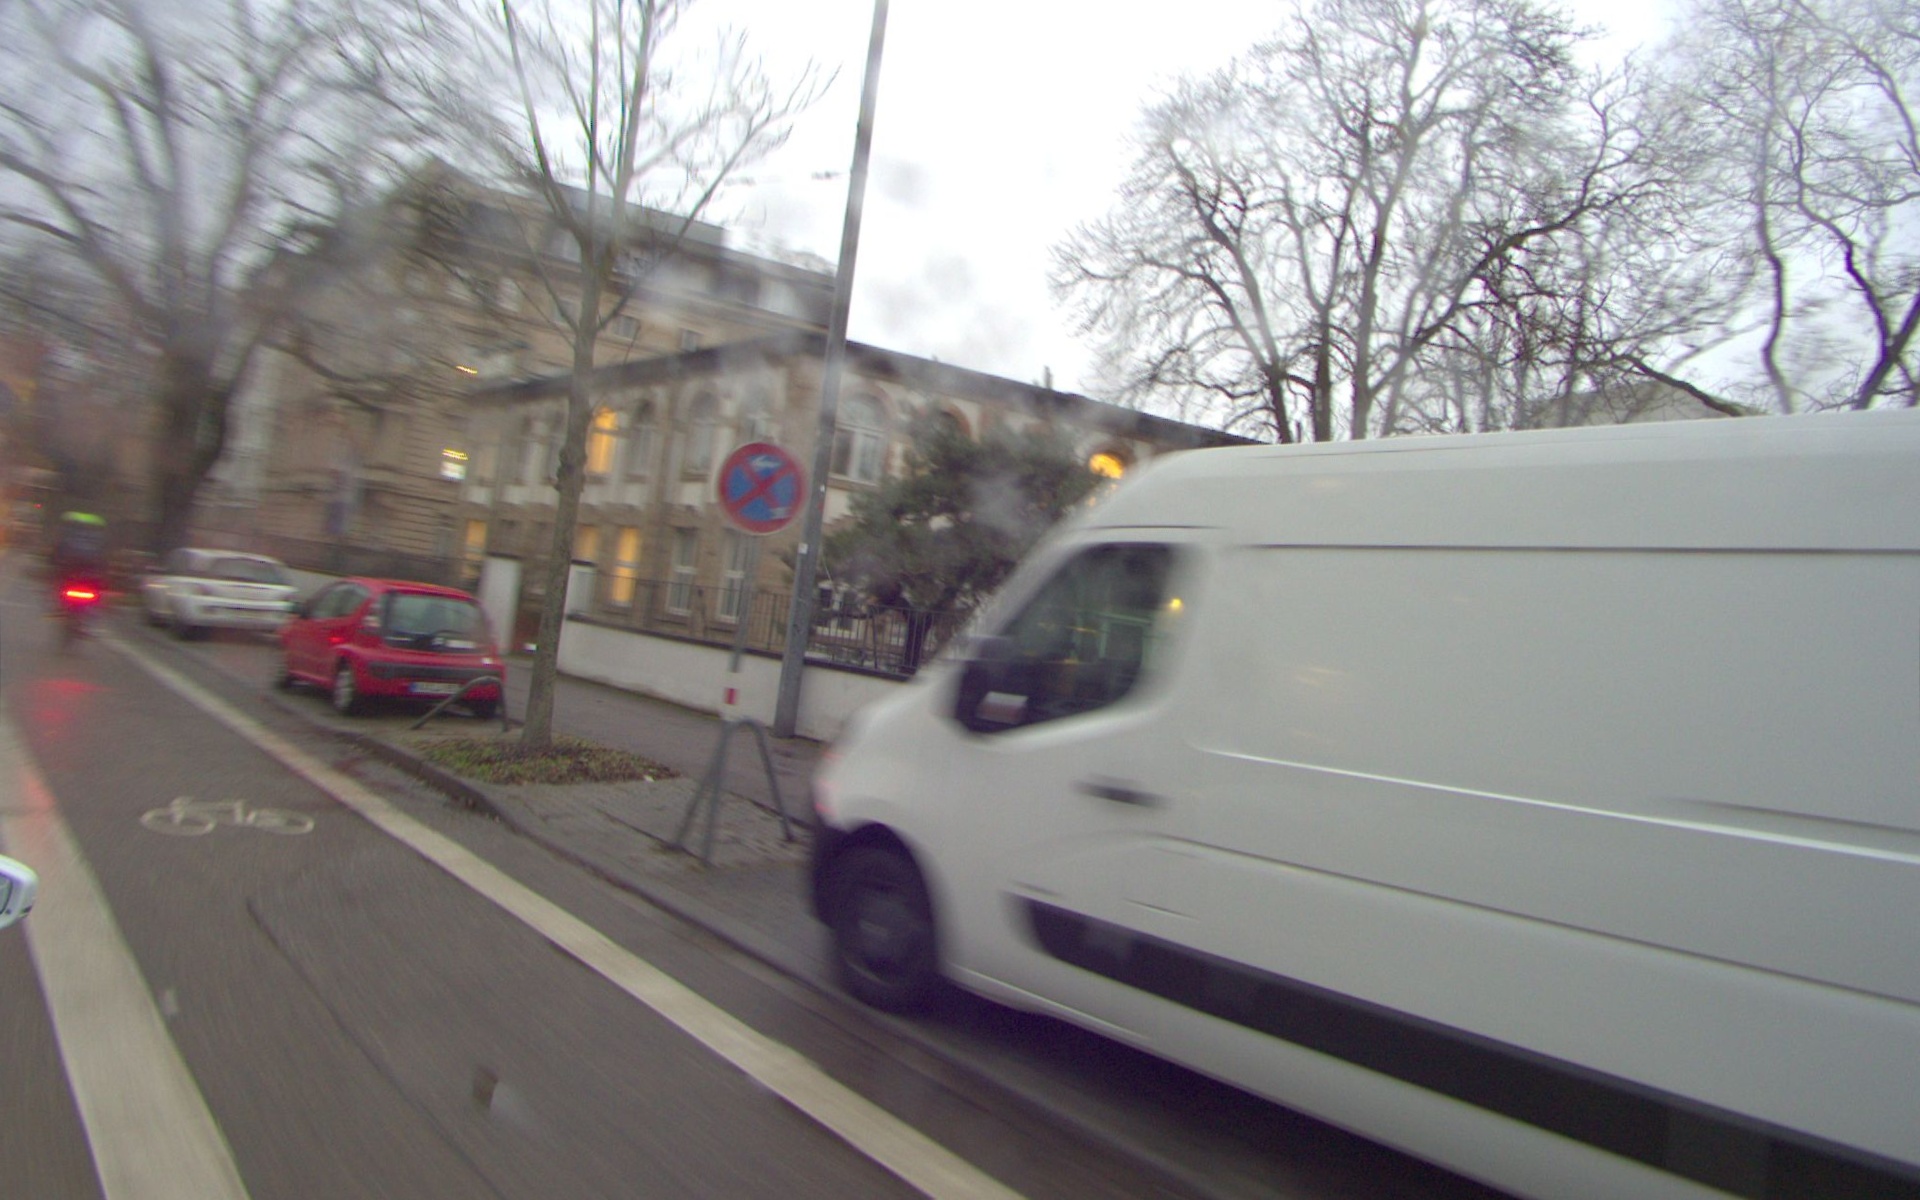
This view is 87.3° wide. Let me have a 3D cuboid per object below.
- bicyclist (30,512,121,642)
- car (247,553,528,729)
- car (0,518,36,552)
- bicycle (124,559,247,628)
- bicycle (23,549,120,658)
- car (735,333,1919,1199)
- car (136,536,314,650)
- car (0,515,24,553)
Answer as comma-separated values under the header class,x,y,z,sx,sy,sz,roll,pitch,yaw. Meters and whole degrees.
class,x,y,z,sx,sy,sz,roll,pitch,yaw
bicyclist,-10.810,-0.285,12.295,0.654,1.463,0.839,8,-1,-44
car,-6.858,0.436,11.923,3.522,1.540,1.643,7,-3,41
car,-47.893,-3.333,50.535,3.987,1.477,1.676,6,-2,42
bicycle,-15.002,-0.119,19.523,0.654,1.083,1.711,7,-2,43
bicycle,-10.962,0.020,12.390,0.706,1.109,2.004,9,-2,-44
car,1.801,0.683,3.775,5.361,2.516,2.123,7,-2,41
car,-12.952,-0.149,17.662,3.587,1.537,1.690,6,-2,42
car,-56.002,-3.956,58.339,4.958,1.922,1.992,6,-2,42
